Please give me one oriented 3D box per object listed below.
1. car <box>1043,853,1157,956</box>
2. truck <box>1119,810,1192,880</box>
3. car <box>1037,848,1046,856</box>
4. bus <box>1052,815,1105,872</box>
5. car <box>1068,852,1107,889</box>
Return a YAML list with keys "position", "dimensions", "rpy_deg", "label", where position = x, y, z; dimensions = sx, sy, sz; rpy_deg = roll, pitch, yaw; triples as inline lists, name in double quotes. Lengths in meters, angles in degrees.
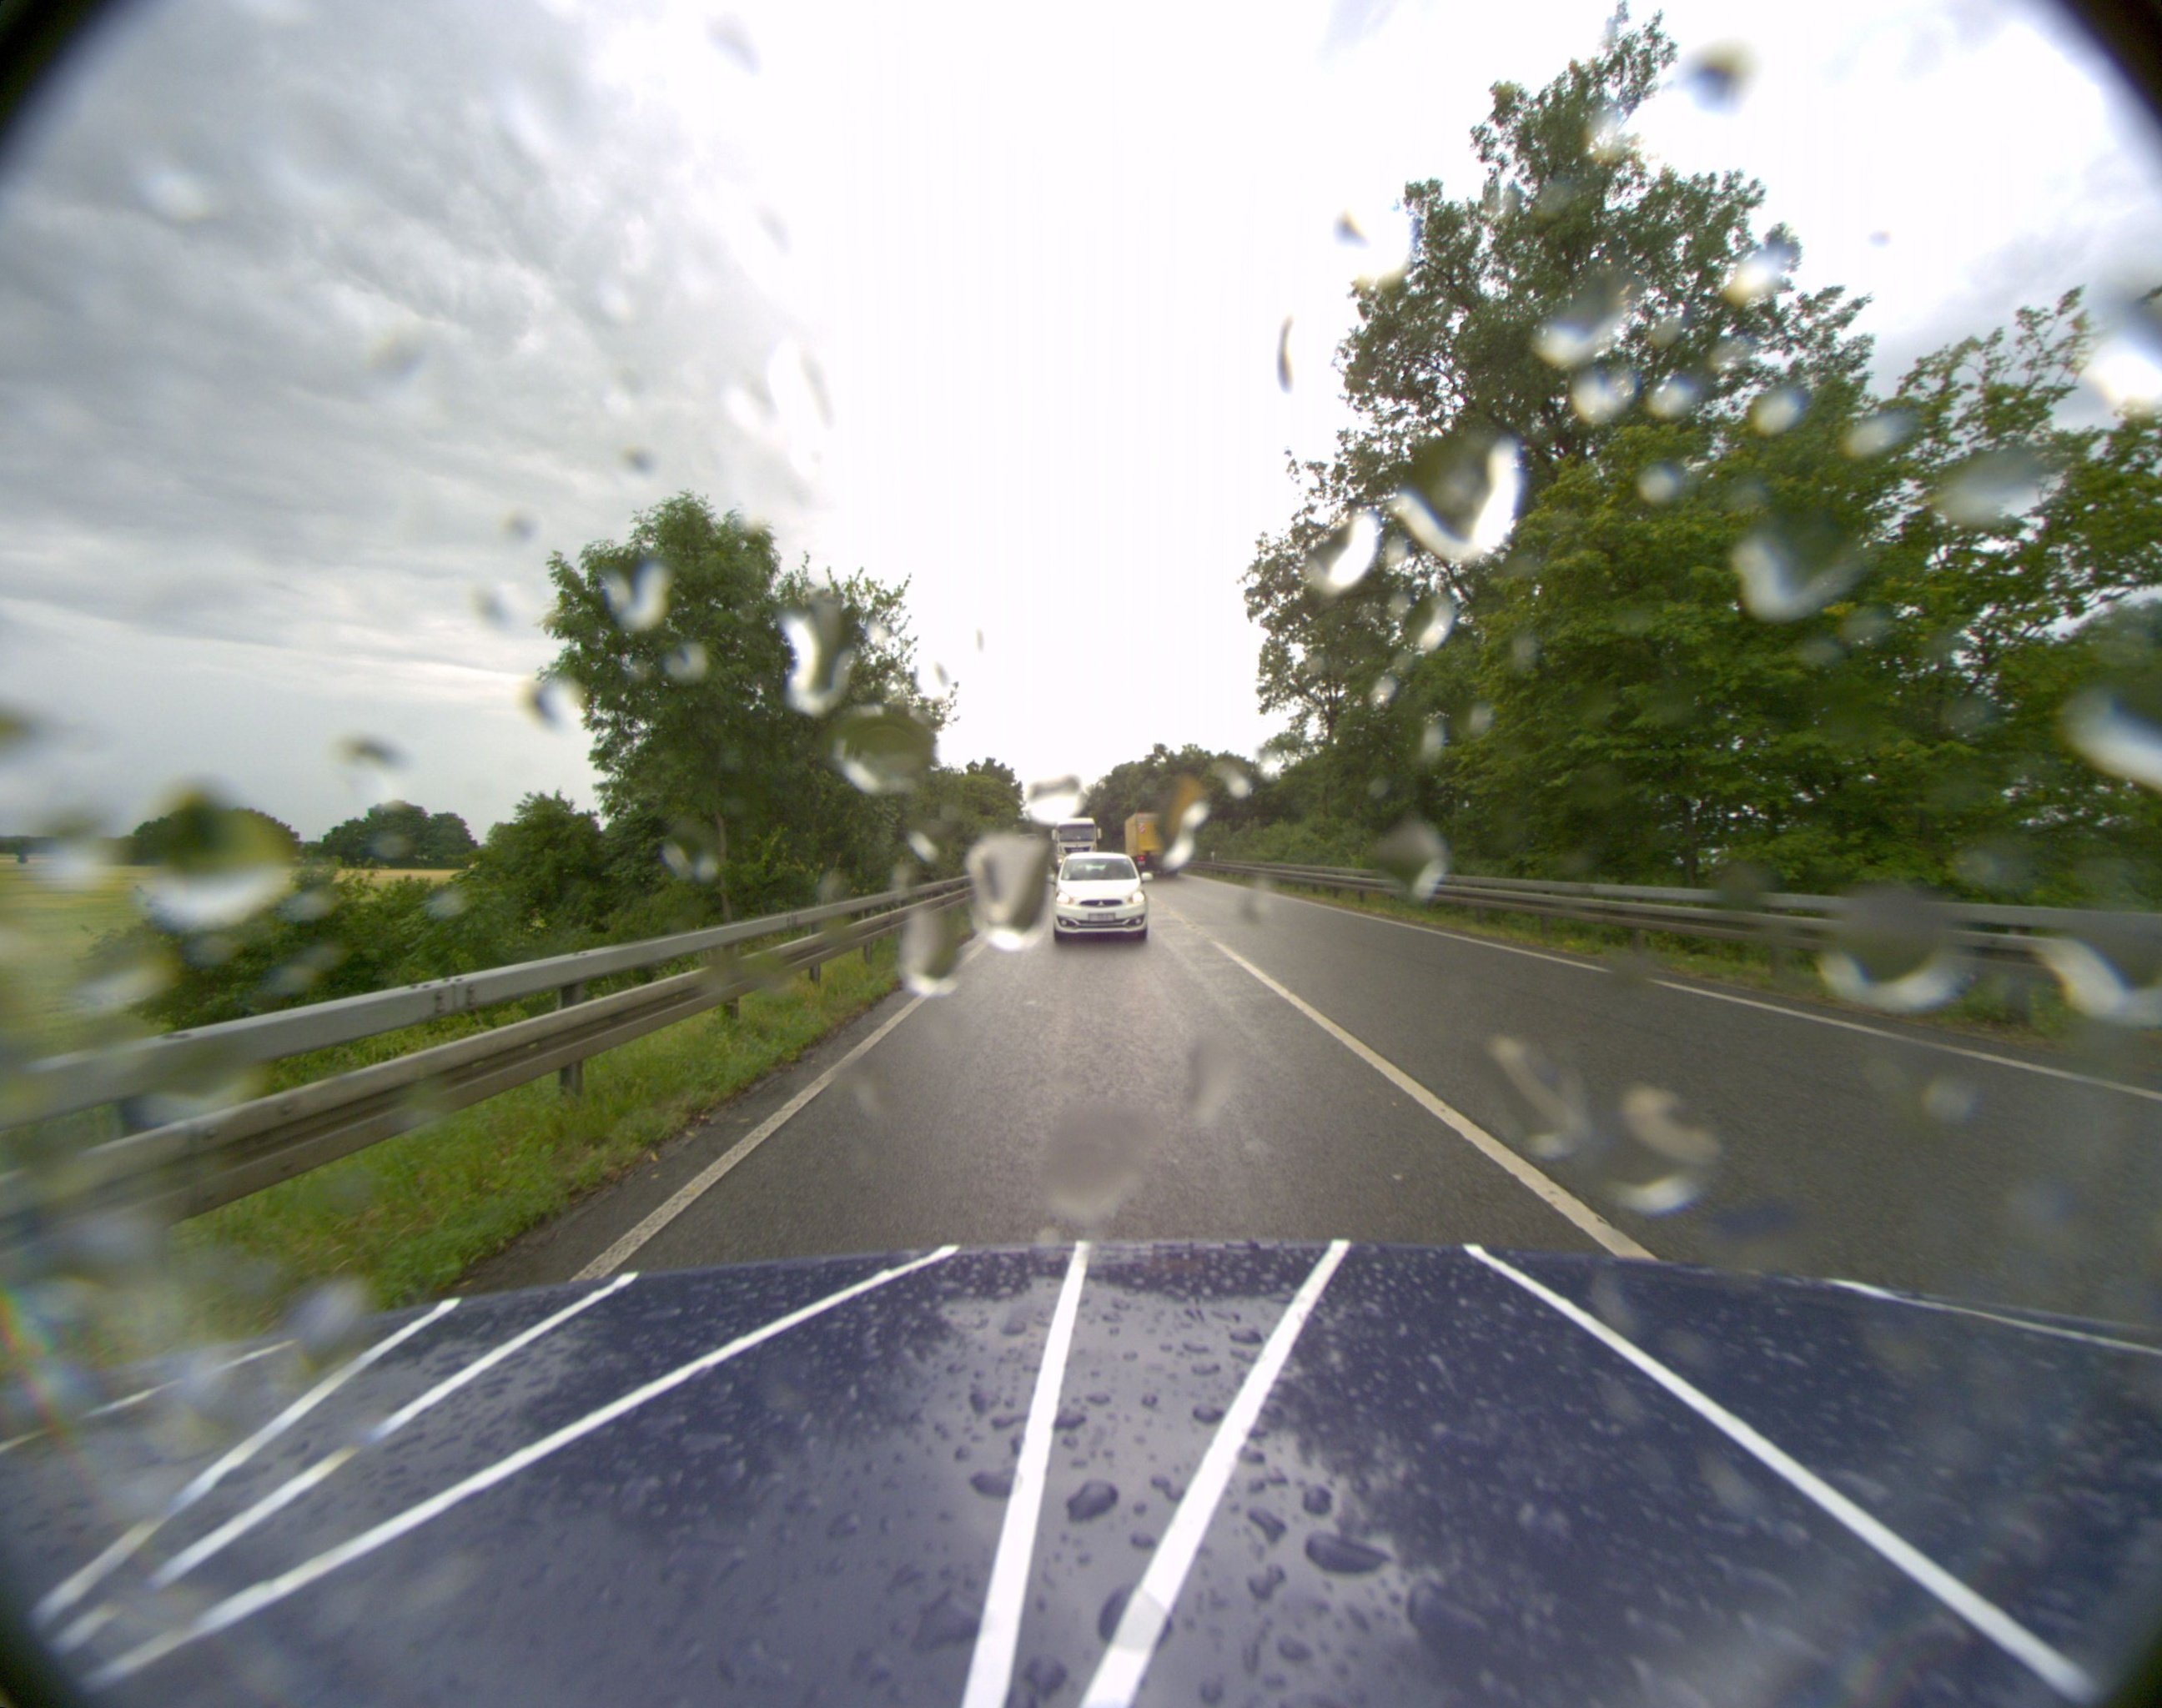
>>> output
- position: [0.312, 0.766, 13.586]
  dimensions: [1.701, 1.471, 4.062]
  rpy_deg: [-2, 1, 1]
  label: "car"
- position: [4.113, -0.595, 43.878]
  dimensions: [2.778, 3.410, 9.182]
  rpy_deg: [-4, 2, -2]
  label: "truck"
- position: [-7.043, -0.355, 134.789]
  dimensions: [1.393, 1.470, 3.225]
  rpy_deg: [0, 1, -5]
  label: "car"
- position: [-0.435, -0.700, 52.814]
  dimensions: [3.064, 3.405, 13.635]
  rpy_deg: [-2, 1, -2]
  label: "bus"
- position: [0.293, 0.654, 31.104]
  dimensions: [1.475, 1.410, 3.429]
  rpy_deg: [-1, 0, 2]
  label: "car"
